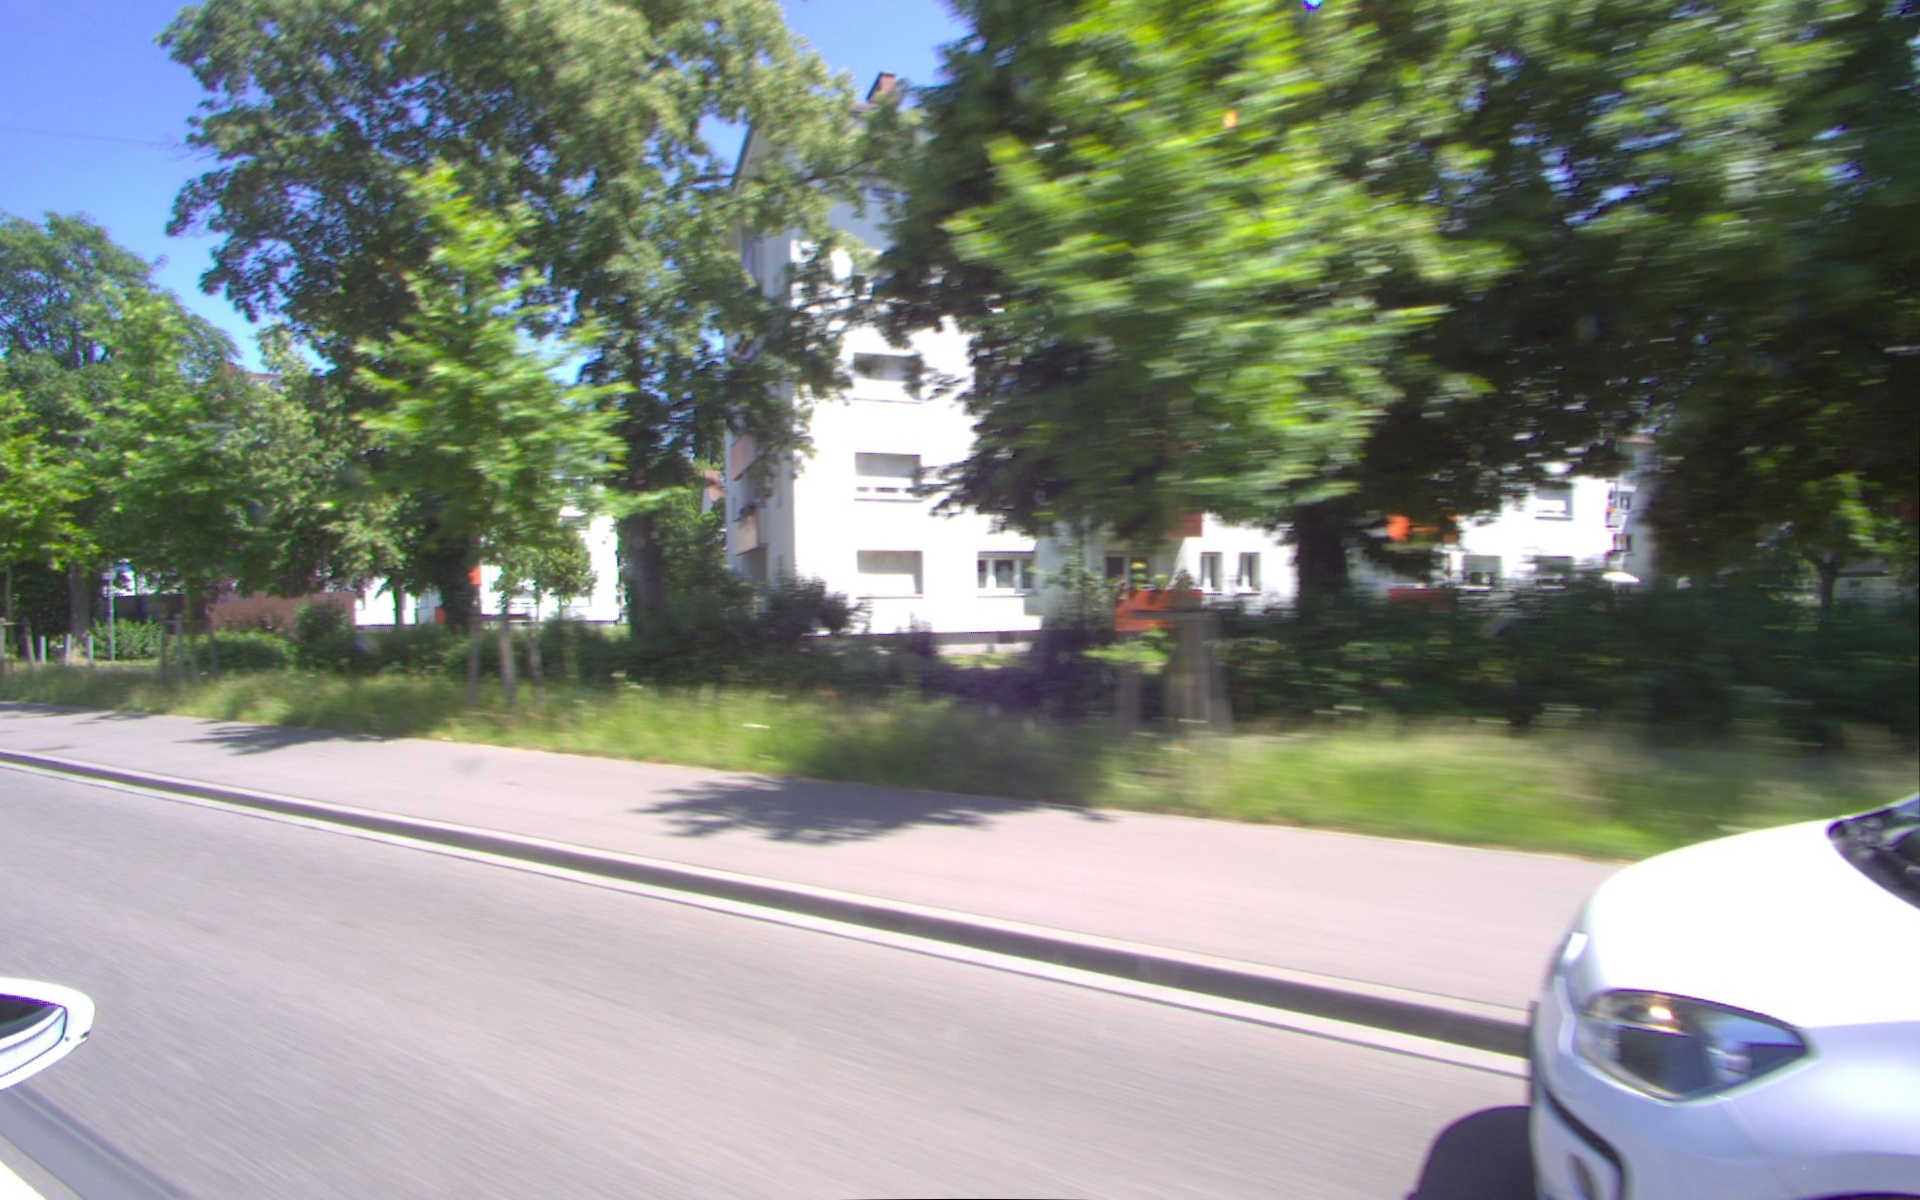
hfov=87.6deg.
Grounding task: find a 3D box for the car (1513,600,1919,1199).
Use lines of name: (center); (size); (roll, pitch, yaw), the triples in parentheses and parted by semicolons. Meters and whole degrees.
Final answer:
car: (3.030, 0.732, 1.508); (3.798, 1.468, 1.656); (-1, -1, 31)
